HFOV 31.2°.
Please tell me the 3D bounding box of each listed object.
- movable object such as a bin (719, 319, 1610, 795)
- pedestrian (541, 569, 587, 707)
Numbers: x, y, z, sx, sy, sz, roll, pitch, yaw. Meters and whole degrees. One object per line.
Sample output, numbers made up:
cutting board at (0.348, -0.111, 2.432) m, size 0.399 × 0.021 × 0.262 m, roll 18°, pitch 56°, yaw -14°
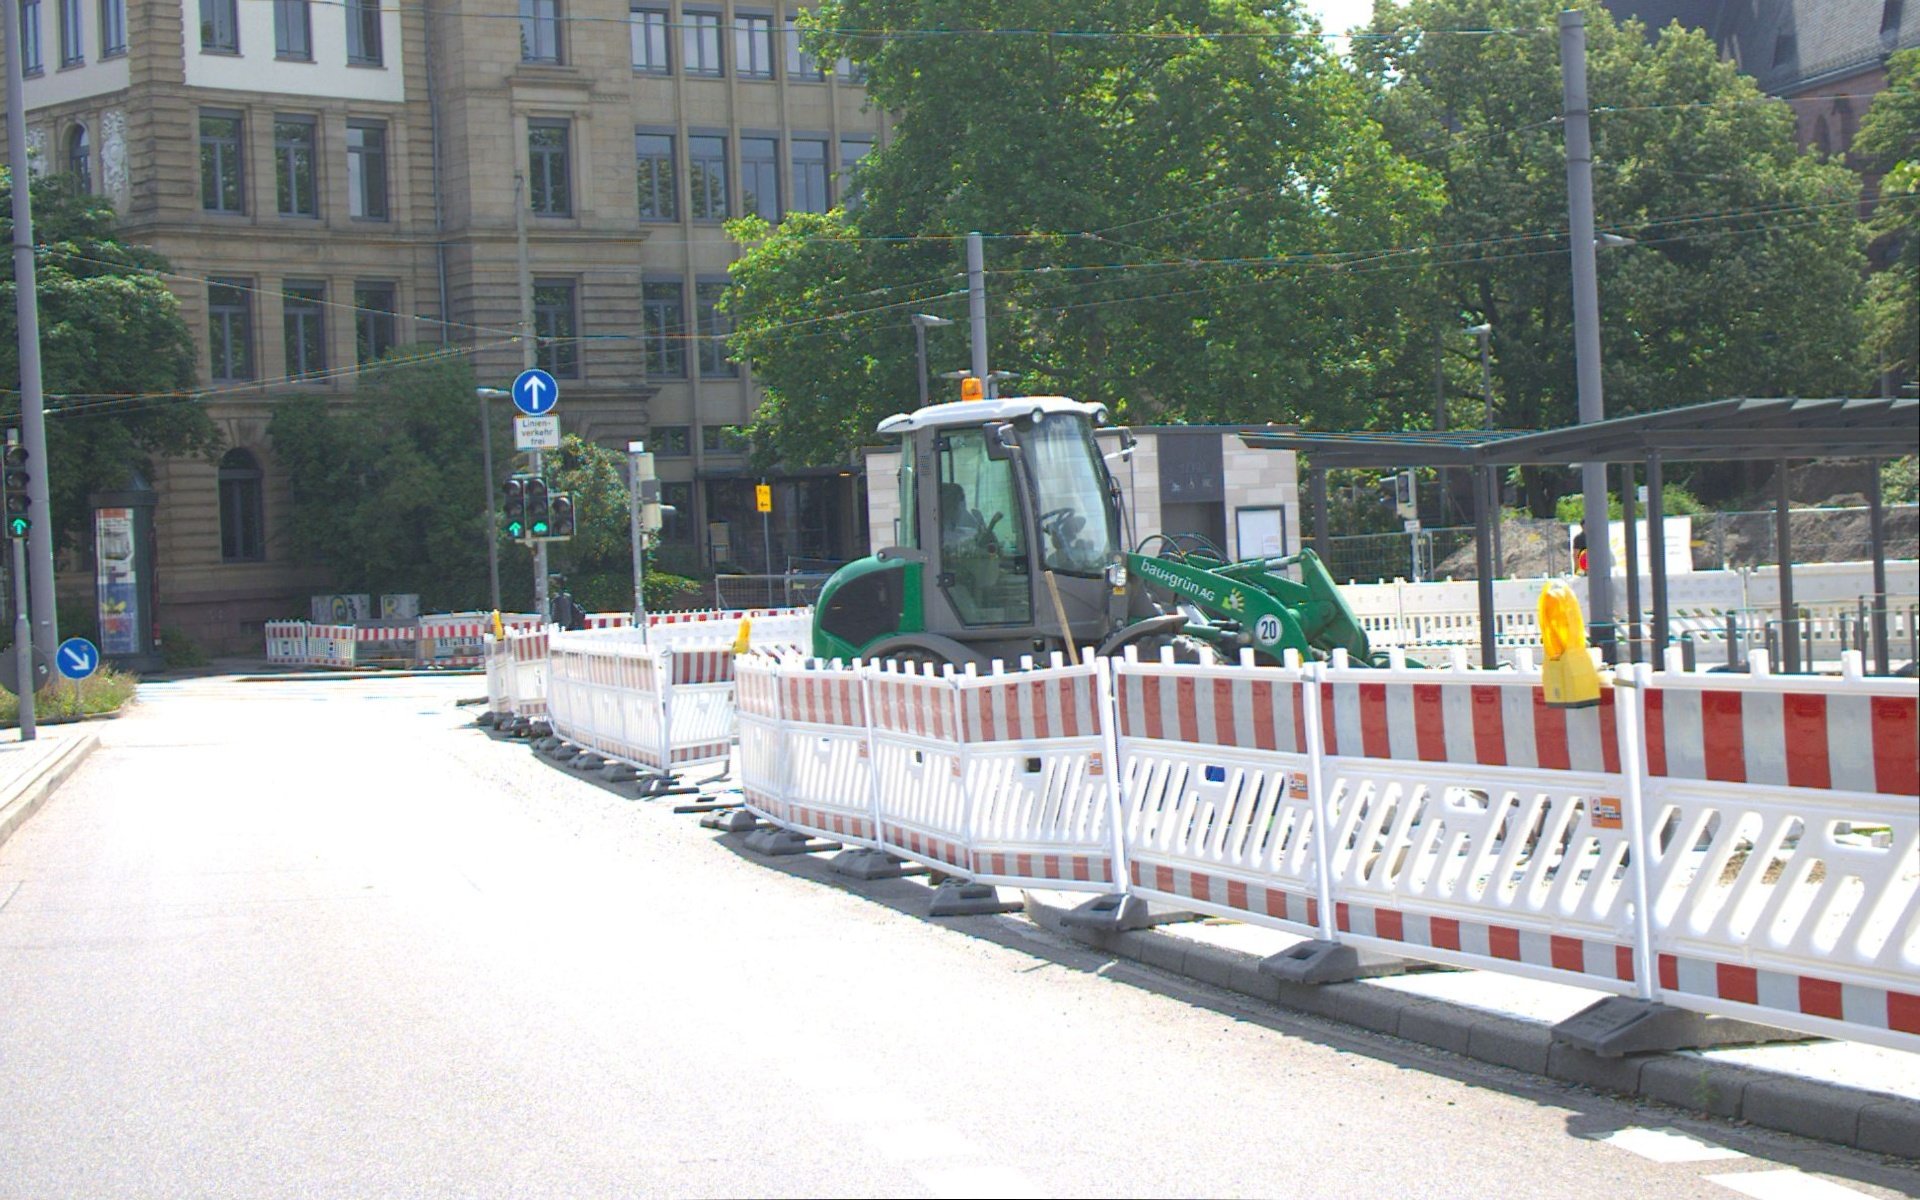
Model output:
movable object such as a bin at (1.302, -0.225, 23.270) m, size 5.535 × 2.875 × 2.284 m, roll -2°, pitch 1°, yaw 35°
pedestrian at (-5.397, 0.517, 46.848) m, size 0.498 × 1.844 × 0.529 m, roll -3°, pitch 1°, yaw -2°
